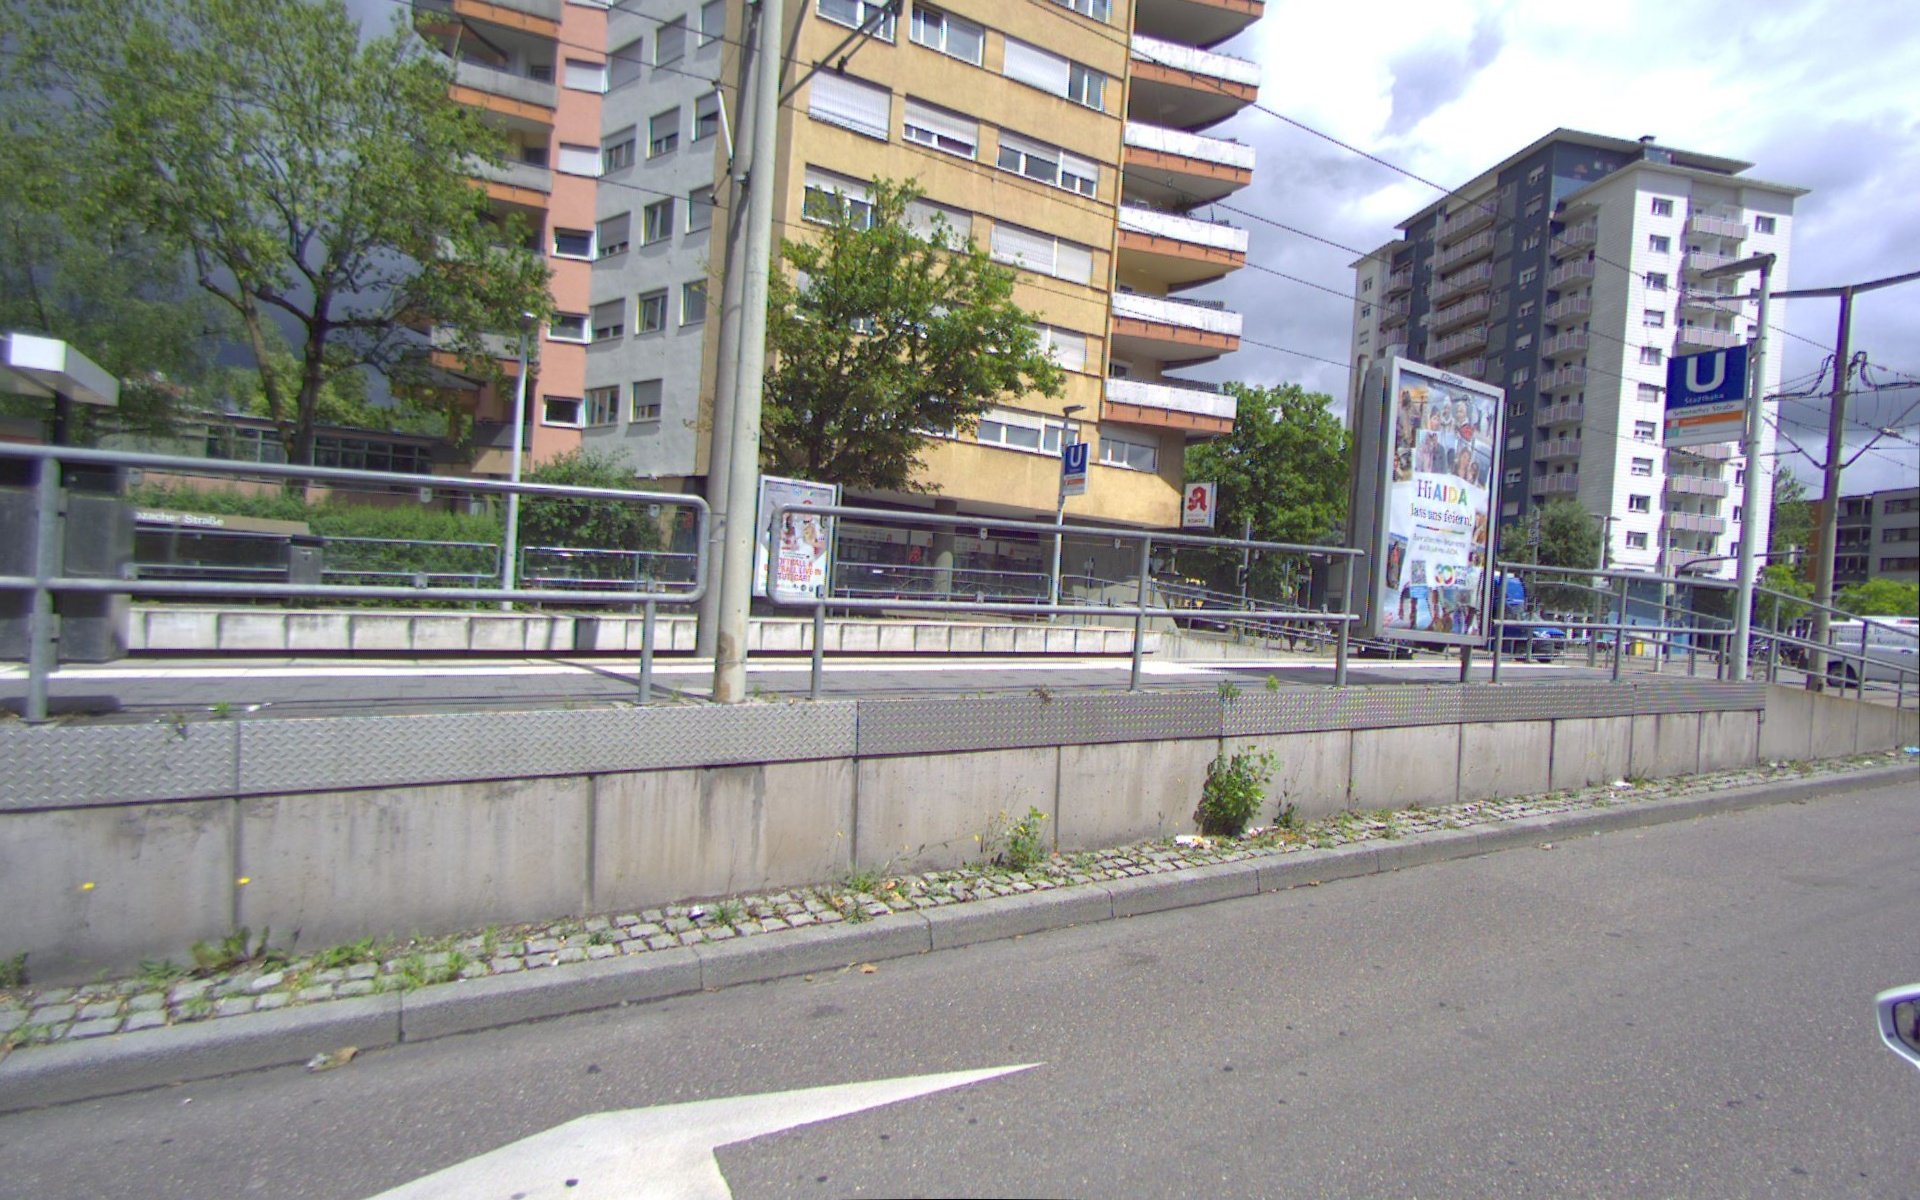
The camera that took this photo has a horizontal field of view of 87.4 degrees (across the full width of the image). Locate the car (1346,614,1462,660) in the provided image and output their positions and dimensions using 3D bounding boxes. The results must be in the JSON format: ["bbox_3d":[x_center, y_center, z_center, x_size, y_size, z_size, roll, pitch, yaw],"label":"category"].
[{"bbox_3d":[14.703,1.235,33.258,3.820,1.424,1.571,2,0,-30],"label":"car"}]

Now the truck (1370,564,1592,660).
[{"bbox_3d":[20.014,0.413,39.056,2.583,3.393,7.218,2,0,-36],"label":"truck"}]

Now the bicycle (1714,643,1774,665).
[{"bbox_3d":[43.416,2.989,55.675,2.521,1.022,0.754,4,0,33],"label":"bicycle"}]

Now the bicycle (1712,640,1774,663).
[{"bbox_3d":[42.157,2.764,54.132,2.521,1.022,0.754,4,0,33],"label":"bicycle"}]

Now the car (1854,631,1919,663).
[{"bbox_3d":[64.177,3.214,68.902,3.846,2.001,1.657,2,0,18],"label":"car"}]

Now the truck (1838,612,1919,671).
[{"bbox_3d":[52.929,2.386,57.479,7.244,3.159,2.267,2,0,-34],"label":"truck"}]

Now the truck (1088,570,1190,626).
[{"bbox_3d":[7.983,-0.109,45.240,2.323,2.320,4.260,2,0,-29],"label":"truck"}]

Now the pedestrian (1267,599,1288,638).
[{"bbox_3d":[11.893,0.698,37.640,0.541,1.459,0.497,2,0,-19],"label":"pedestrian"}]

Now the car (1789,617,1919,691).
[{"bbox_3d":[26.986,1.550,28.416,1.983,1.918,5.129,2,0,-38],"label":"car"}]

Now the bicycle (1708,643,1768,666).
[{"bbox_3d":[42.557,2.959,54.982,2.521,1.022,0.754,4,0,33],"label":"bicycle"}]

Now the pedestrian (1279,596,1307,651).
[{"bbox_3d":[11.091,0.785,33.486,0.649,1.799,0.658,1,0,-1],"label":"pedestrian"}]
